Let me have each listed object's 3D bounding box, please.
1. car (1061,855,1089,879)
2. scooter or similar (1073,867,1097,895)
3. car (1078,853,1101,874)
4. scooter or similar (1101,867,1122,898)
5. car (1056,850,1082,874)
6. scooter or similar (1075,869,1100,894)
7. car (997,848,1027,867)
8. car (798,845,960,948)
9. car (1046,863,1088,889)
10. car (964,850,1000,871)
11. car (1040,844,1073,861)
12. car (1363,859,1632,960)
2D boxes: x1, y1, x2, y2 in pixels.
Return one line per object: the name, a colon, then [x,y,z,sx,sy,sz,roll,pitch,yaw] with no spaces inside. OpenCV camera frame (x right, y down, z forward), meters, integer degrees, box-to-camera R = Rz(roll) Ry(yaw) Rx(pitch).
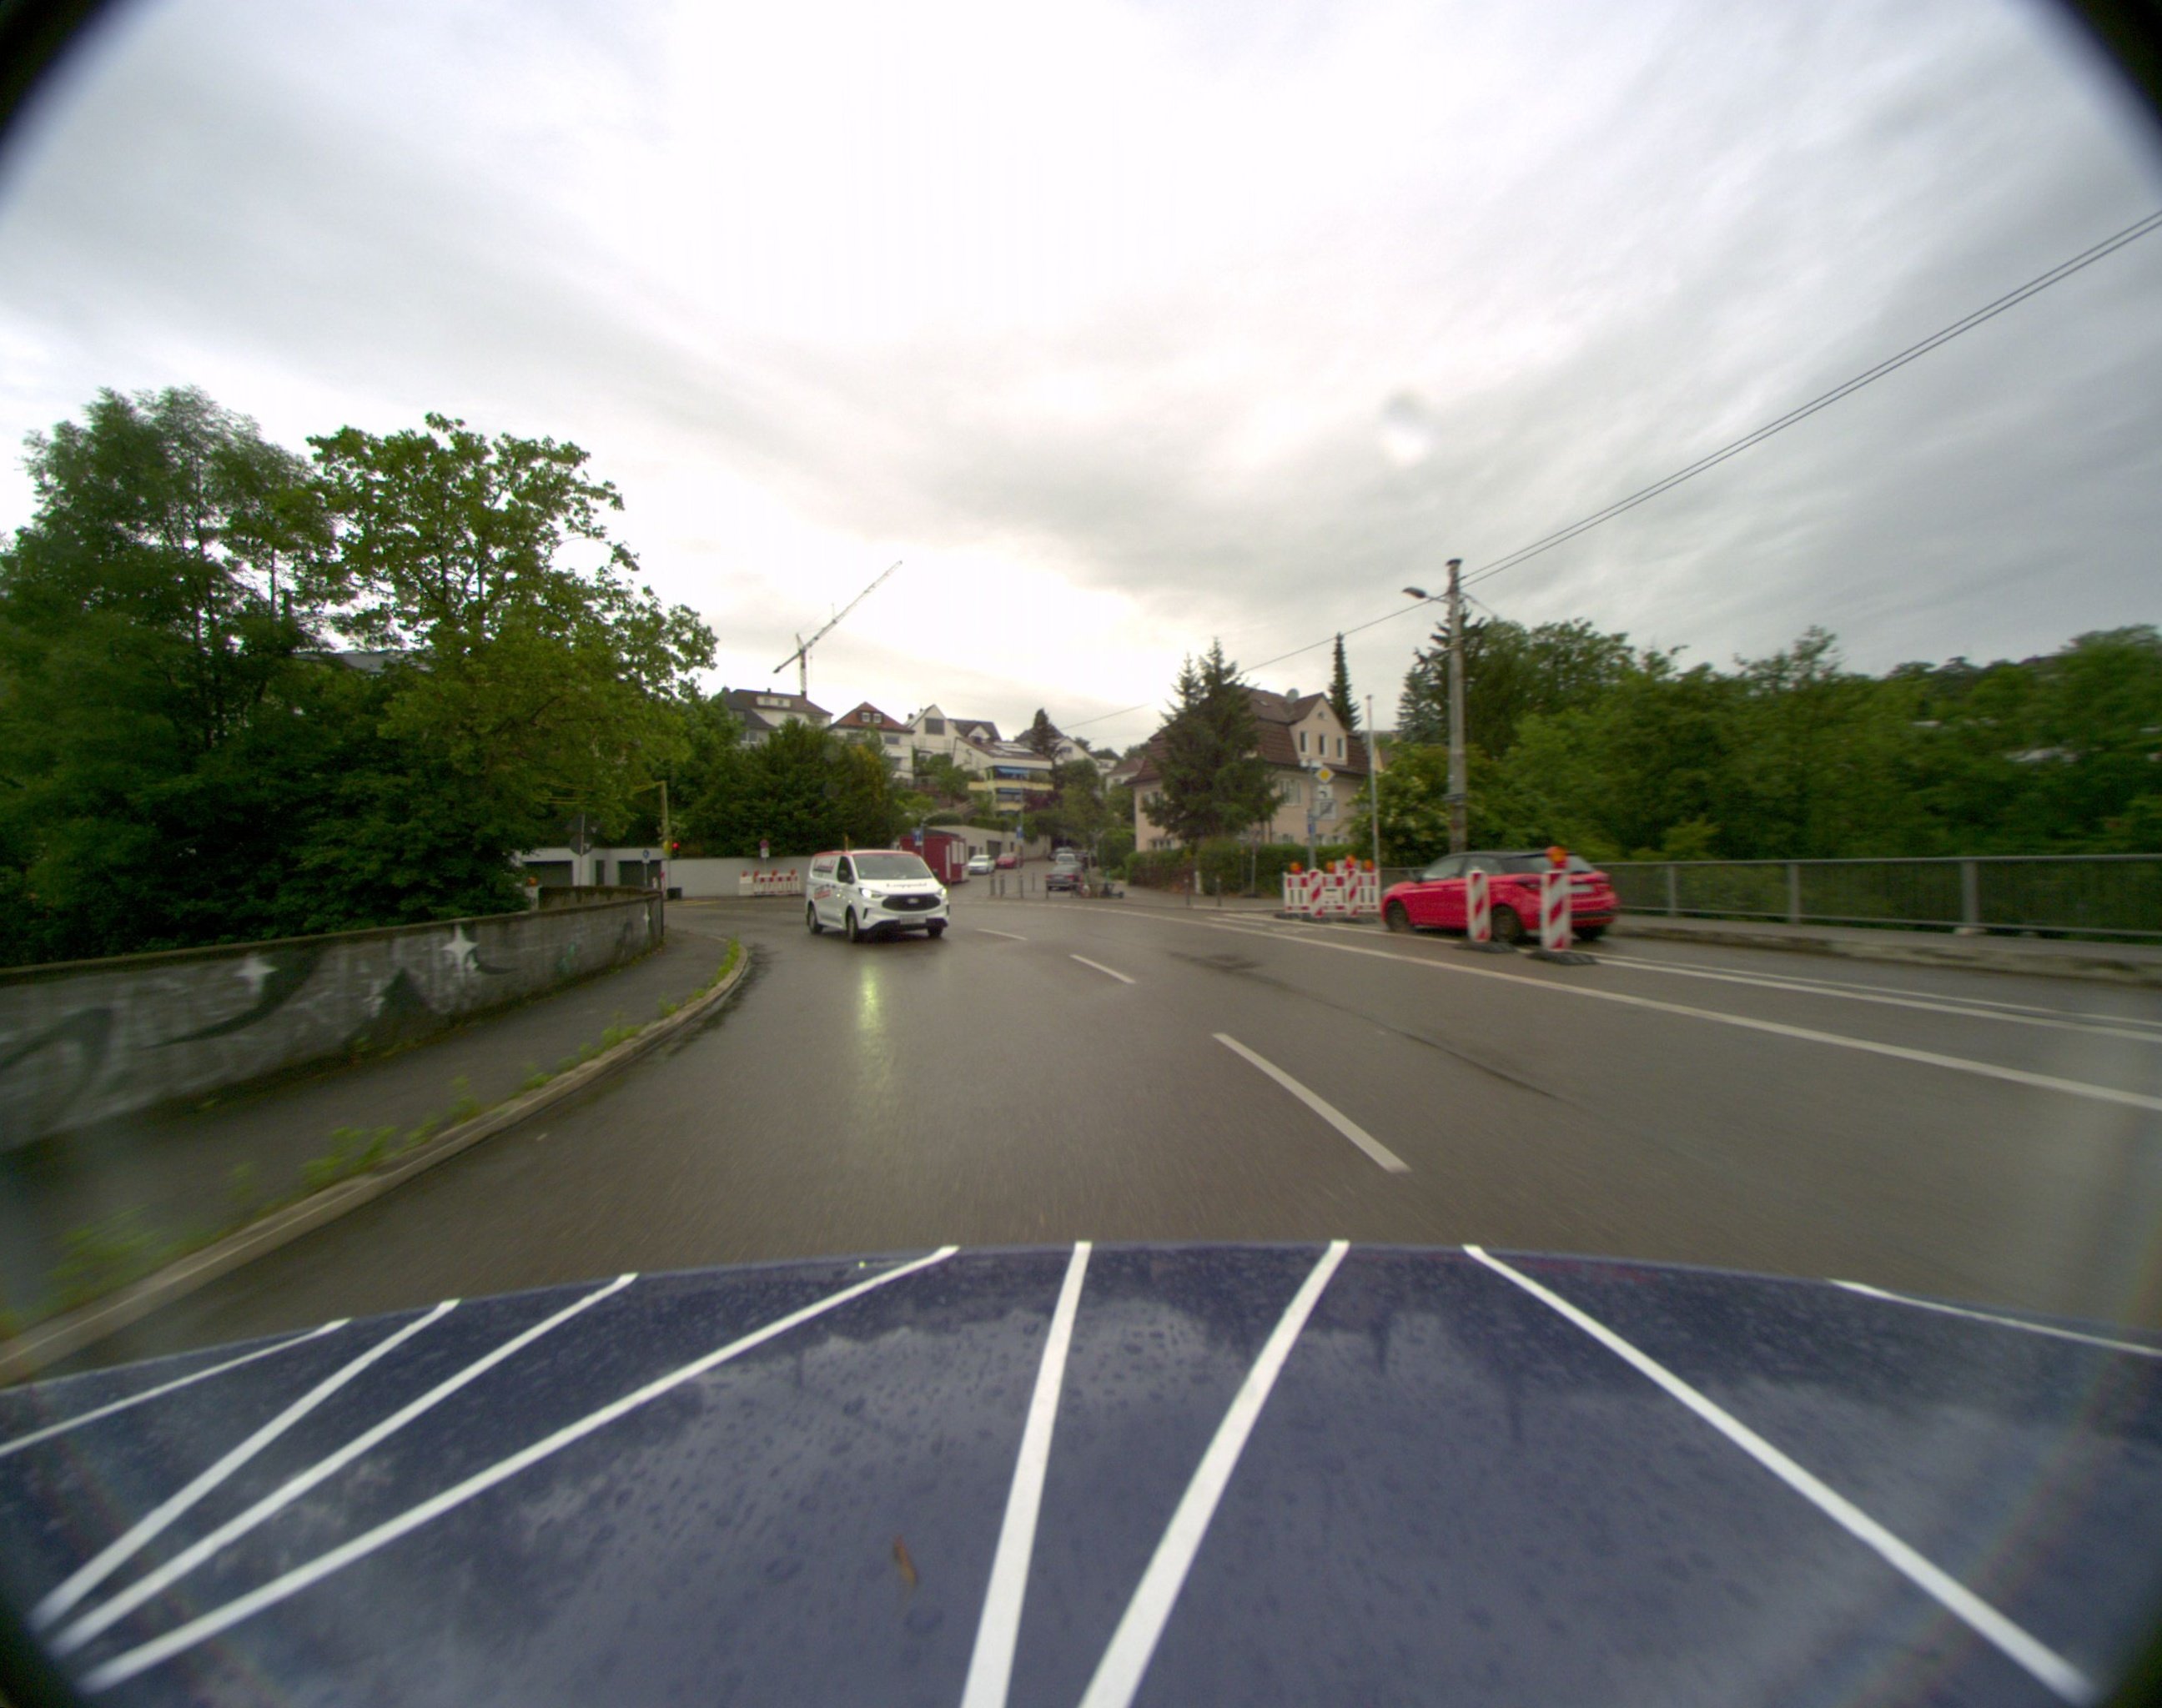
car: [-0.406,0.750,47.481,1.674,1.394,4.203,-1,0,-2]
scooter or similar: [0.174,1.156,32.454,1.038,1.157,0.243,-1,1,-24]
car: [0.734,0.811,68.260,1.998,1.696,3.998,0,2,1]
scooter or similar: [1.196,1.116,29.959,0.243,1.211,1.039,0,1,38]
car: [-0.912,0.583,59.444,1.873,1.653,3.999,0,2,2]
scooter or similar: [0.283,1.184,33.253,1.038,1.063,0.243,-1,1,-23]
car: [-6.281,0.318,69.667,1.872,1.651,4.004,0,-2,9]
car: [-4.769,0.871,17.338,2.004,2.001,4.936,-1,-1,-35]
car: [-0.720,1.202,41.943,1.673,1.259,4.206,-1,0,8]
car: [-7.997,0.503,61.748,1.998,1.652,4.001,0,1,5]
car: [-2.597,-0.184,81.947,1.878,1.485,4.005,-5,1,22]
car: [6.818,0.803,13.011,1.692,1.390,4.131,-1,0,-14]
